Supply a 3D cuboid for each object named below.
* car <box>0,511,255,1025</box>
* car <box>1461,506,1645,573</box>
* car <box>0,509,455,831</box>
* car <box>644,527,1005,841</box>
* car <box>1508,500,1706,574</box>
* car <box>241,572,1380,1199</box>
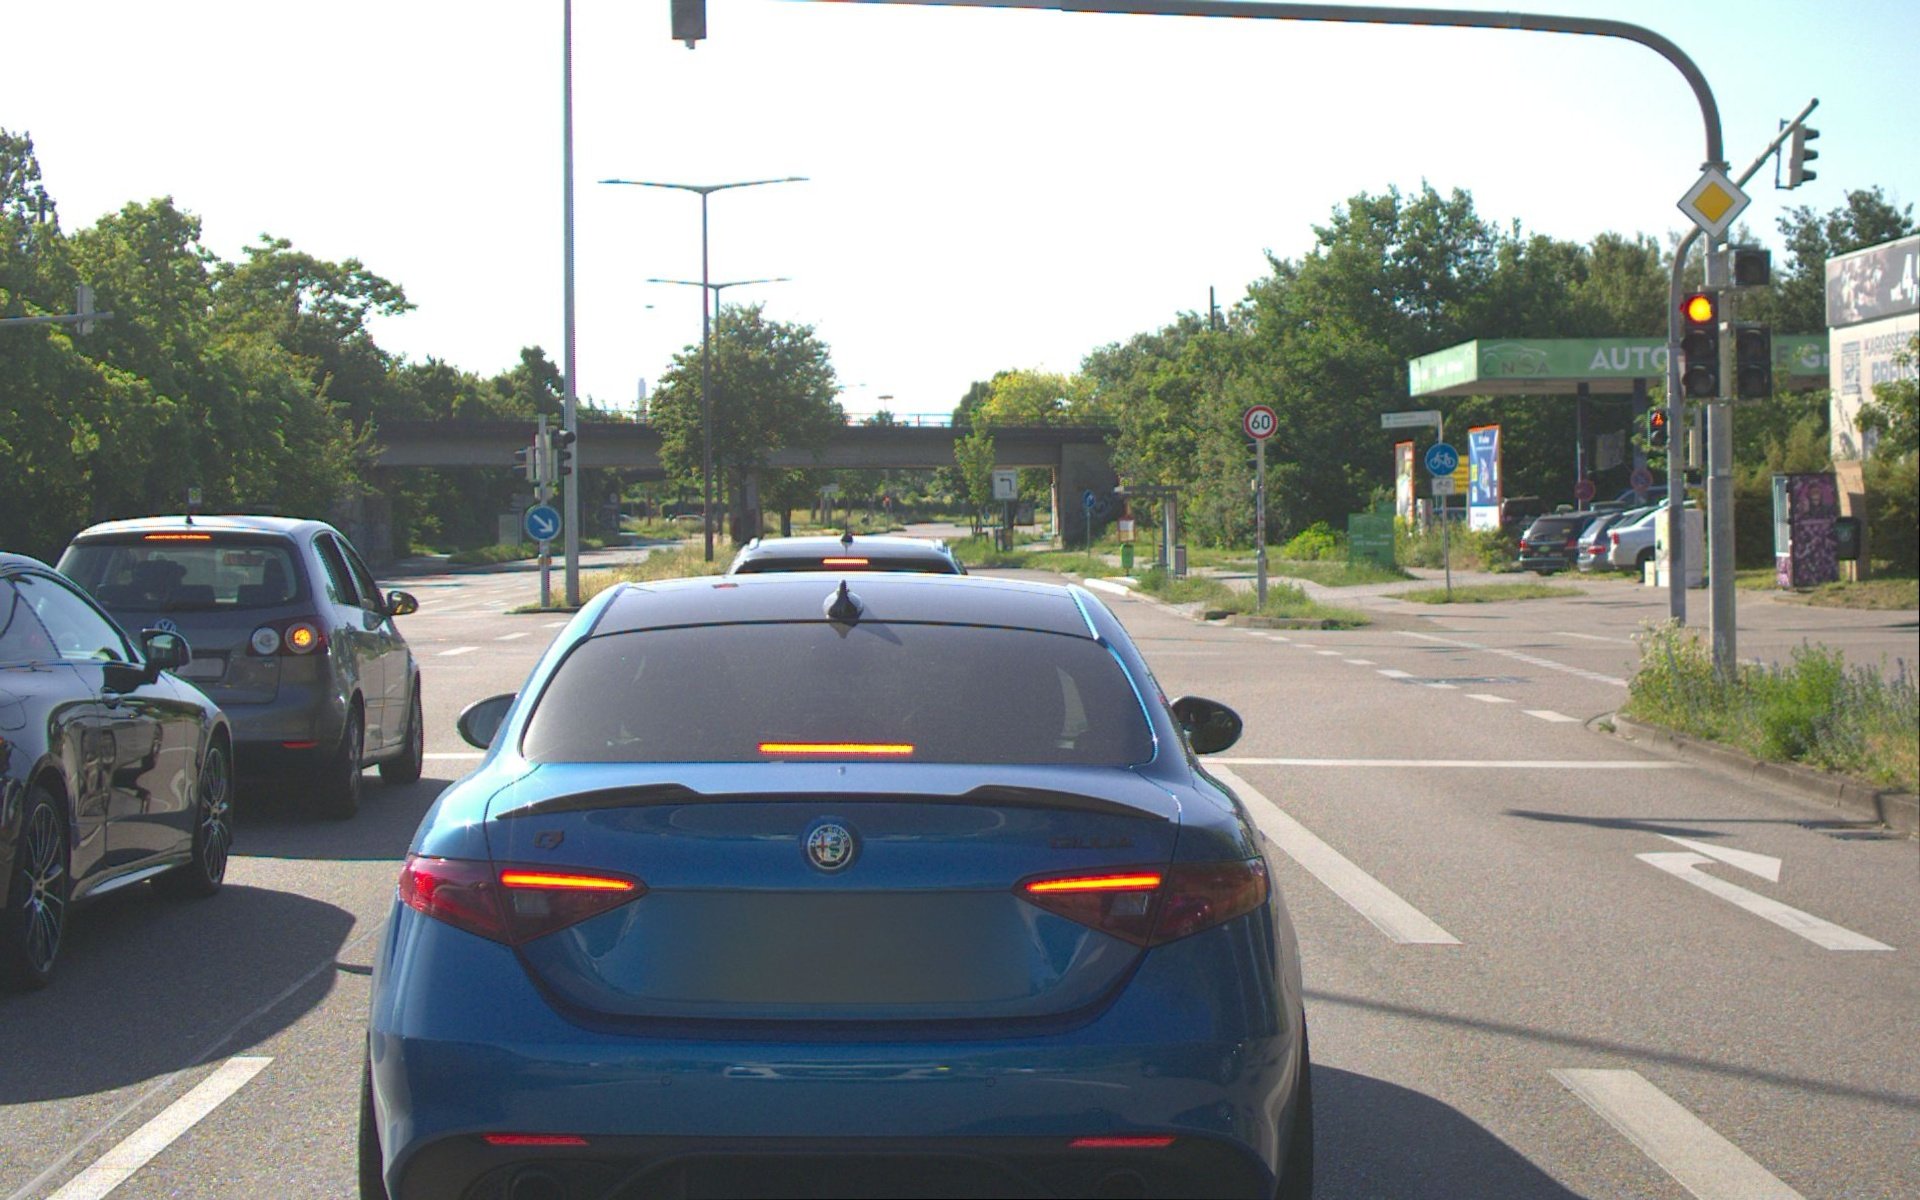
[{"bbox_3d":[-3.828,0.462,12.181,1.812,1.546,4.544,0,1,-1],"label":"car"},{"bbox_3d":[14.654,-1.488,84.972,3.986,1.547,2.001,1,1,-18],"label":"car"},{"bbox_3d":[-3.950,0.319,18.966,1.812,1.546,4.354,1,1,-2],"label":"car"},{"bbox_3d":[-0.634,0.386,18.499,1.704,1.492,3.719,1,1,1],"label":"car"},{"bbox_3d":[14.315,-1.387,76.219,3.987,1.547,2.000,1,1,1],"label":"car"},{"bbox_3d":[-0.222,0.664,7.662,1.910,1.418,3.719,1,1,1],"label":"car"}]
